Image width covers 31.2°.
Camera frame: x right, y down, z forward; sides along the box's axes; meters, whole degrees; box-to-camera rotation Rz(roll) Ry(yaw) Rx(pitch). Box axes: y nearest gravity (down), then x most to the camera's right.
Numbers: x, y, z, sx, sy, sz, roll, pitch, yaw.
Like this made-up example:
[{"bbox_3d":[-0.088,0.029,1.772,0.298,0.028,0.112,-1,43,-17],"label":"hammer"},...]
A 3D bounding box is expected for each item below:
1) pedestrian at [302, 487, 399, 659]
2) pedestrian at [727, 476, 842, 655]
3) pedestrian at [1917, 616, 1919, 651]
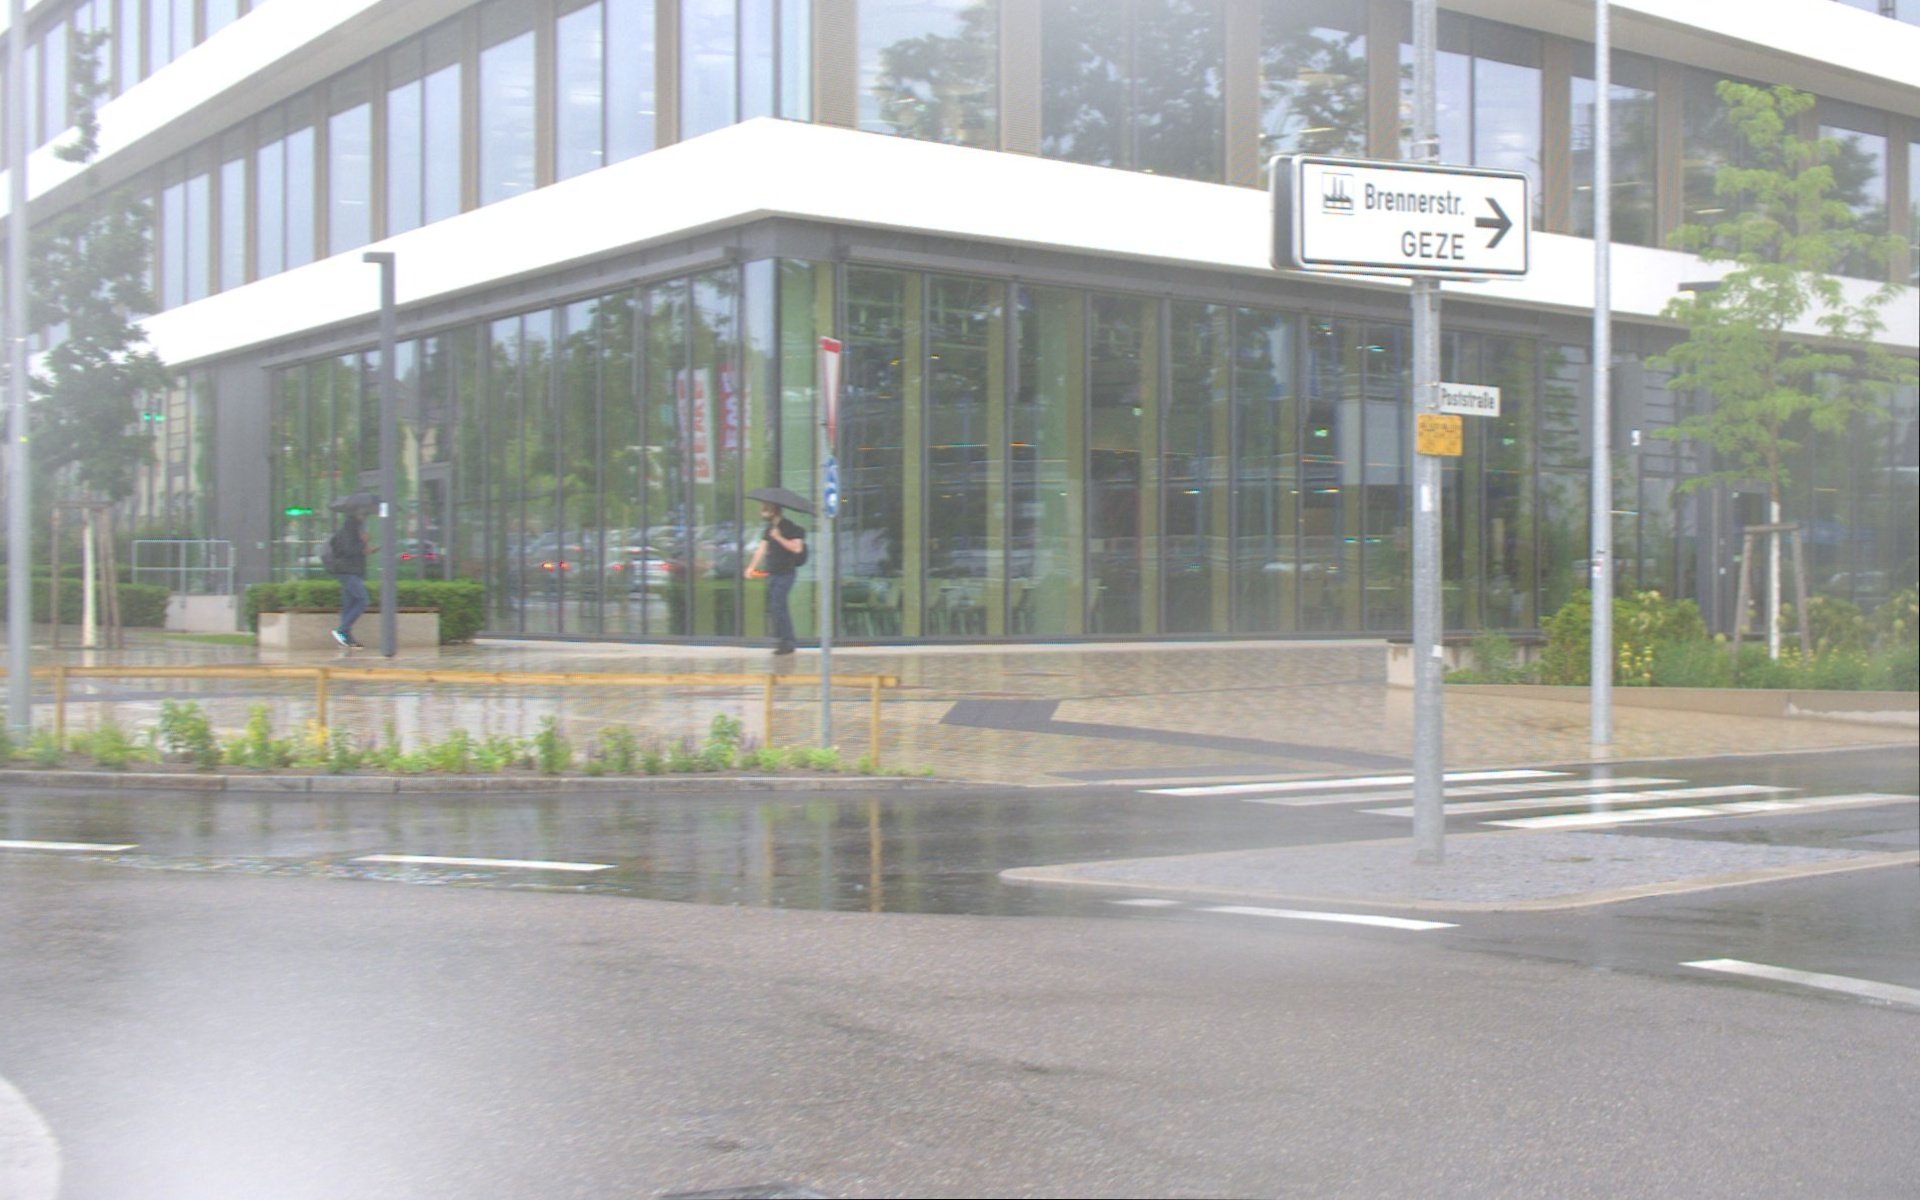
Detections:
[{"bbox_3d":[-7.716,-0.344,43.480,1.002,2.138,0.932,1,1,-22],"label":"pedestrian"},{"bbox_3d":[-2.005,-0.395,39.233,0.892,2.007,0.929,2,1,37],"label":"pedestrian"},{"bbox_3d":[16.179,0.015,55.822,0.726,1.698,0.954,6,2,45],"label":"pedestrian"}]
